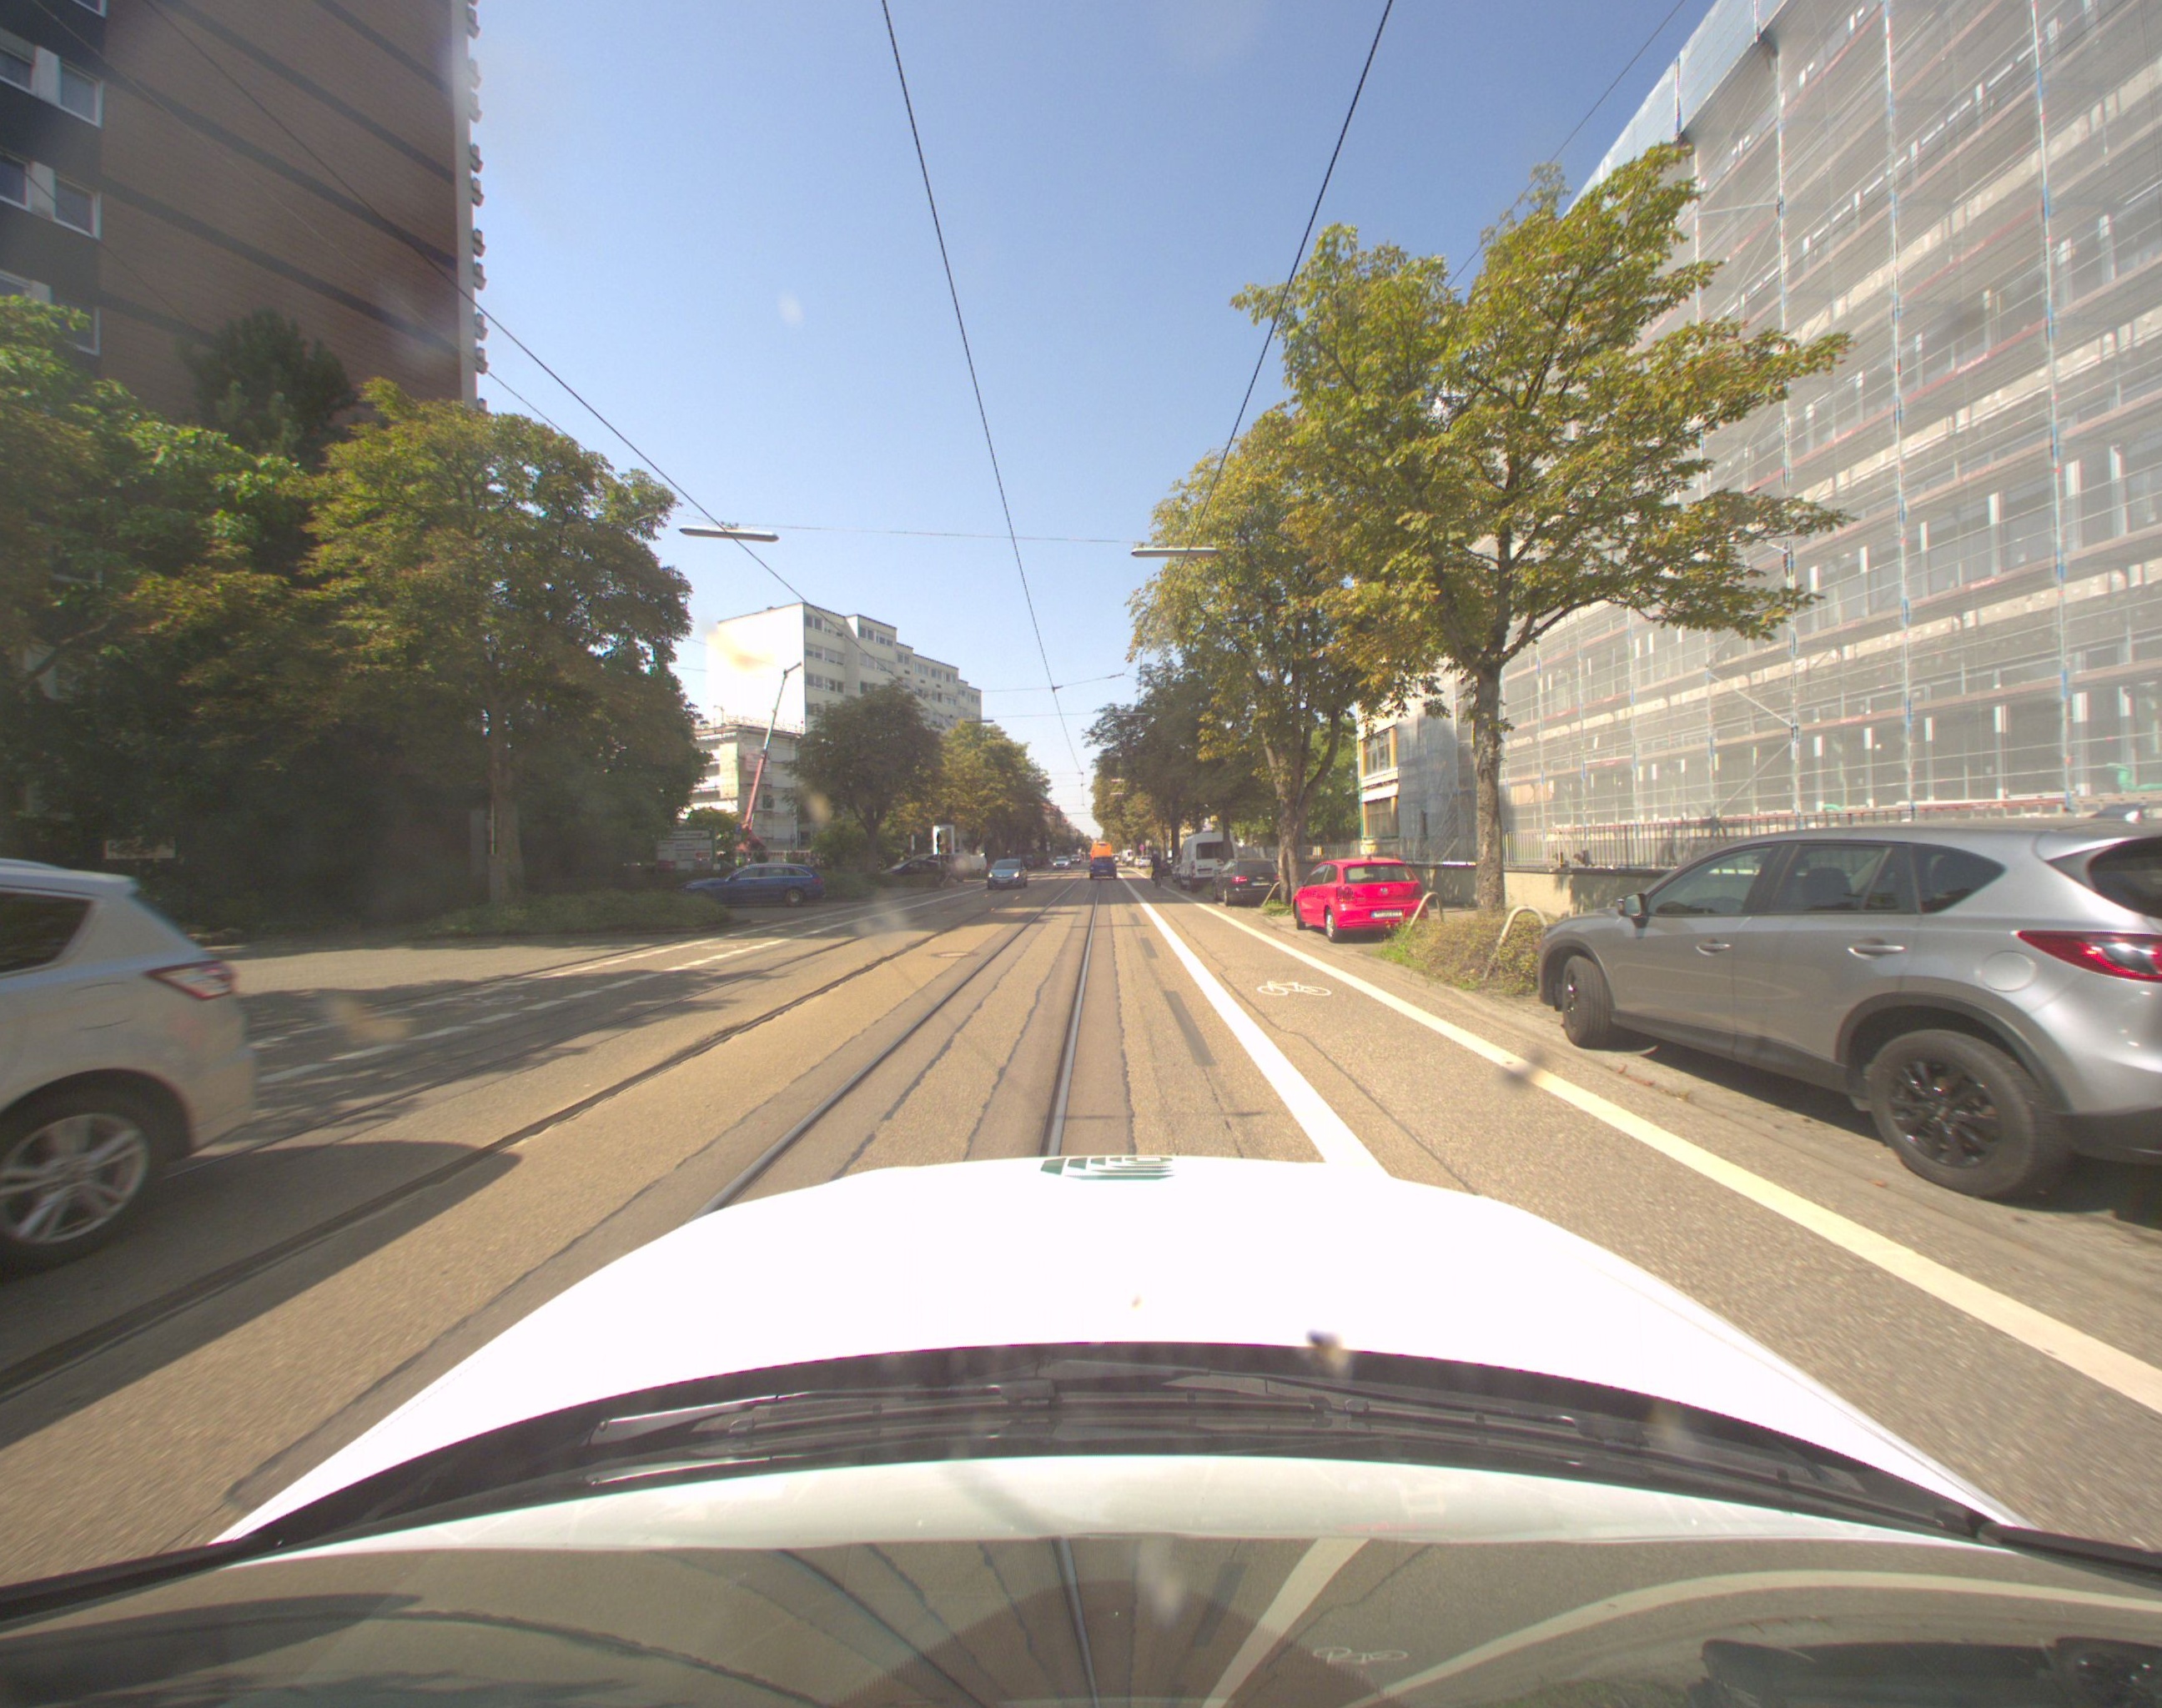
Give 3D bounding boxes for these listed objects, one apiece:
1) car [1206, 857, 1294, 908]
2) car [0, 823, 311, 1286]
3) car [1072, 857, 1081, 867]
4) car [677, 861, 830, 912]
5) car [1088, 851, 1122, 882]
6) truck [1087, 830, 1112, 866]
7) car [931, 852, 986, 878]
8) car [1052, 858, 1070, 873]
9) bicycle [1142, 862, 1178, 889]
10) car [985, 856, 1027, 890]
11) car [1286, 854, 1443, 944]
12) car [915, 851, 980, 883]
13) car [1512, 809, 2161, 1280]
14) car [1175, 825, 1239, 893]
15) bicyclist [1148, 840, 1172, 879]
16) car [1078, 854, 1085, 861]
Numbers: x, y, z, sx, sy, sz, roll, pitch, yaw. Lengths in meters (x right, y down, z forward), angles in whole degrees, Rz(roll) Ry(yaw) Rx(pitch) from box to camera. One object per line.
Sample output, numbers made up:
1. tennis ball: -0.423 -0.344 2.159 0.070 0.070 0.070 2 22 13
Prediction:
1. car: 5.197 0.821 25.593 1.901 1.431 4.292 -1 0 1
2. car: -4.842 0.738 1.968 1.774 1.684 4.347 -1 0 1
3. car: -0.830 1.493 153.358 1.621 1.704 4.000 -1 0 1
4. car: -10.903 1.034 27.297 4.588 1.552 1.985 -1 0 -22
5. car: 1.602 0.771 54.065 2.127 1.858 5.570 -2 0 2
6. truck: 1.721 -0.508 74.120 2.127 3.124 6.087 -2 0 2
7. car: -9.861 0.858 65.782 4.021 2.013 1.834 -1 0 -42
8. car: -2.257 1.291 93.210 1.892 1.562 4.122 -1 0 0
9. bicycle: 3.725 0.996 38.728 1.396 1.134 4.001 -1 0 2
10. car: -3.690 0.909 40.700 1.628 1.585 4.189 -1 0 1
11. car: 5.201 0.750 15.448 1.734 1.462 3.684 -1 0 1
12. car: -9.001 0.854 55.089 4.021 2.013 1.834 -1 0 -42
13. car: 4.691 0.661 5.071 1.734 1.668 4.362 -1 0 1
14. car: 5.506 0.212 36.188 1.987 2.755 5.761 -1 0 1
15. bicyclist: 3.748 0.239 38.737 1.028 1.812 1.016 -1 0 1
16. car: 0.059 1.008 219.139 1.741 1.796 4.000 -1 0 1
